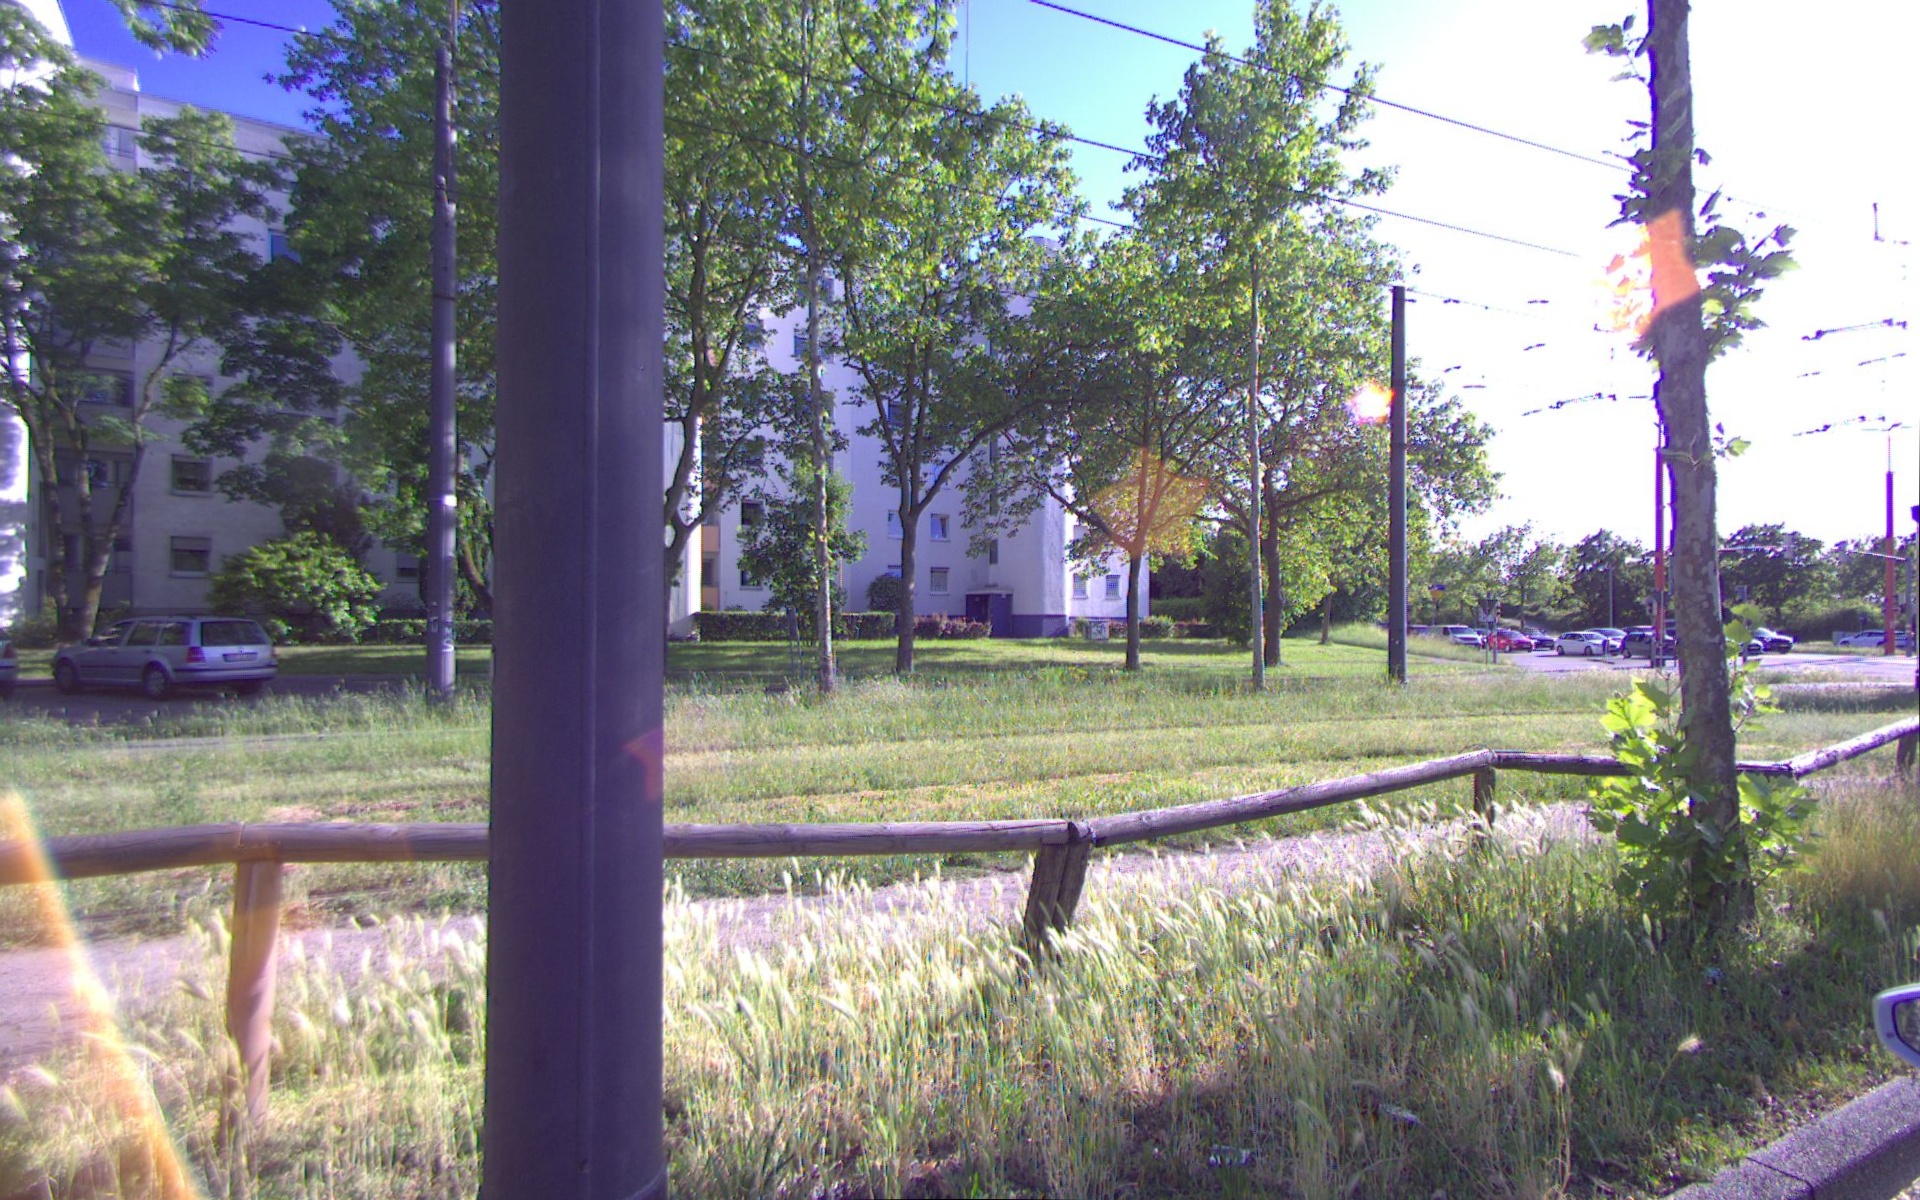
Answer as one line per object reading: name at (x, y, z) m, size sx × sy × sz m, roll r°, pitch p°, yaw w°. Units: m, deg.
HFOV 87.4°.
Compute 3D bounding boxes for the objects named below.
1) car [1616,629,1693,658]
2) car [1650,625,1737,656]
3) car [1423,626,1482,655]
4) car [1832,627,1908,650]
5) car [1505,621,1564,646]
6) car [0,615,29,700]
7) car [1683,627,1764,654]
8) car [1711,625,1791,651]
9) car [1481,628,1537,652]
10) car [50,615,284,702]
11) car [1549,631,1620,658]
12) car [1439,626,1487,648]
car at (38.964, 2.407, 56.446) m, size 1.624 × 1.460 × 3.841 m, roll 1°, pitch -1°, yaw -2°
car at (42.326, 2.308, 58.103) m, size 1.624 × 1.669 × 4.644 m, roll 1°, pitch -1°, yaw 1°
car at (34.694, 2.807, 70.954) m, size 1.797 × 1.845 × 4.903 m, roll 1°, pitch -1°, yaw 1°
car at (63.305, 2.653, 69.923) m, size 1.625 × 1.421 × 3.800 m, roll 1°, pitch -1°, yaw -6°
car at (42.269, 2.431, 74.068) m, size 1.721 × 1.669 × 4.644 m, roll 1°, pitch -1°, yaw 1°
car at (-17.986, 0.950, 17.154) m, size 3.567 × 1.421 × 1.581 m, roll 1°, pitch 0°, yaw 20°
car at (45.574, 2.392, 60.060) m, size 1.513 × 1.434 × 4.154 m, roll 1°, pitch -1°, yaw -3°
car at (48.652, 2.322, 61.894) m, size 1.513 × 1.434 × 4.154 m, roll 1°, pitch -1°, yaw -3°
car at (38.448, 2.776, 70.449) m, size 1.624 × 1.540 × 4.200 m, roll 1°, pitch -1°, yaw 1°
car at (-14.537, 1.013, 18.428) m, size 3.830 × 1.421 × 1.581 m, roll 1°, pitch 0°, yaw 20°
car at (38.918, 2.755, 62.733) m, size 1.624 × 1.540 × 4.638 m, roll 1°, pitch -1°, yaw 1°
car at (38.660, 2.816, 77.252) m, size 1.624 × 1.540 × 4.200 m, roll 1°, pitch -1°, yaw 1°
